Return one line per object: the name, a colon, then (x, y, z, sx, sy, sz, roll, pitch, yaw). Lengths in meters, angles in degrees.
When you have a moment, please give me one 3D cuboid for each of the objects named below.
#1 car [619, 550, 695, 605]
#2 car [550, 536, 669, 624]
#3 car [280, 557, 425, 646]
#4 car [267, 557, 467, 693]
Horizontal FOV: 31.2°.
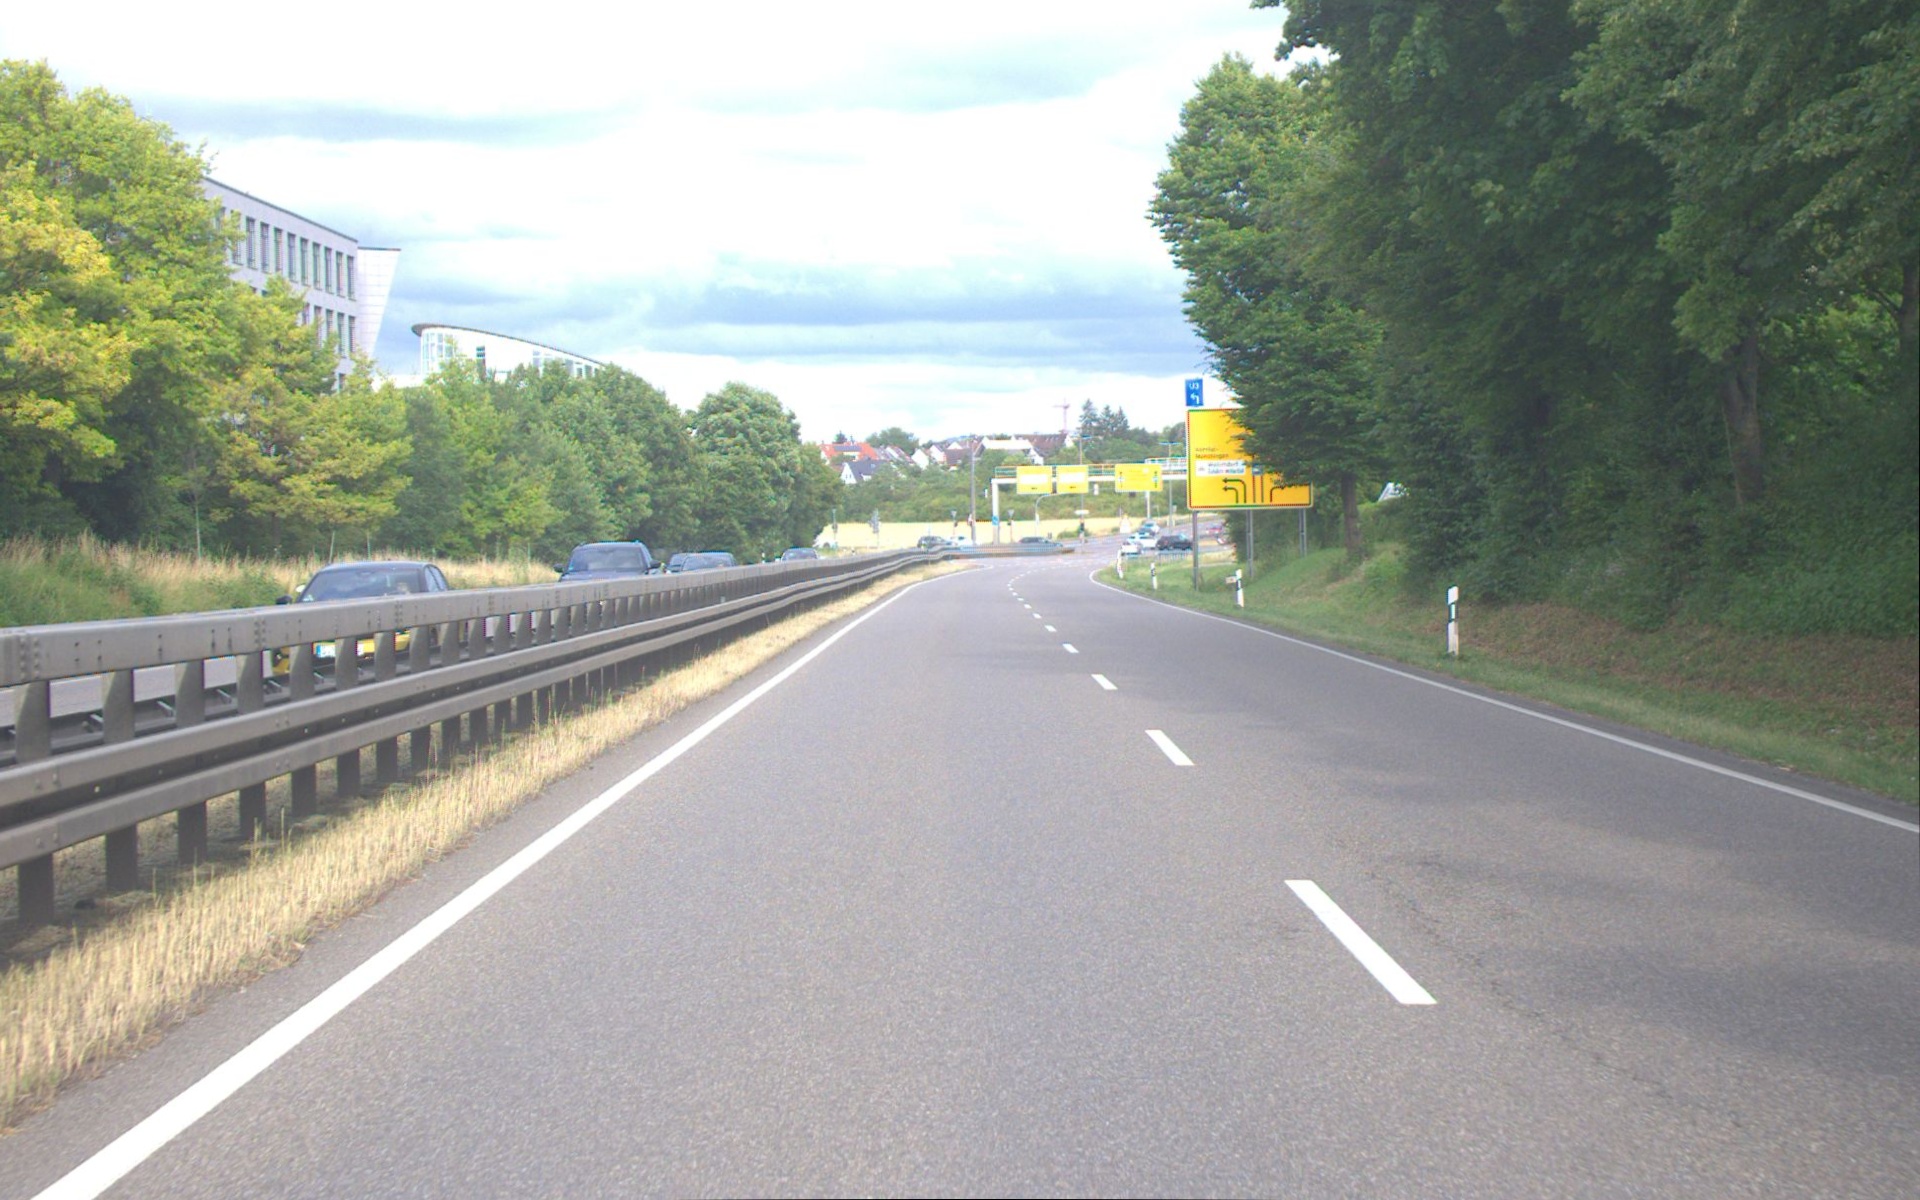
car: (-8.290, -0.634, 94.345, 1.742, 1.453, 4.312, -1, 1, -1)
car: (-6.830, -0.424, 67.447, 1.742, 1.639, 5.280, -1, 1, 0)
car: (-10.775, -0.009, 61.220, 1.817, 1.480, 4.417, -1, 1, 0)
car: (-6.773, 0.247, 39.603, 1.591, 1.442, 4.000, -1, 1, 0)
